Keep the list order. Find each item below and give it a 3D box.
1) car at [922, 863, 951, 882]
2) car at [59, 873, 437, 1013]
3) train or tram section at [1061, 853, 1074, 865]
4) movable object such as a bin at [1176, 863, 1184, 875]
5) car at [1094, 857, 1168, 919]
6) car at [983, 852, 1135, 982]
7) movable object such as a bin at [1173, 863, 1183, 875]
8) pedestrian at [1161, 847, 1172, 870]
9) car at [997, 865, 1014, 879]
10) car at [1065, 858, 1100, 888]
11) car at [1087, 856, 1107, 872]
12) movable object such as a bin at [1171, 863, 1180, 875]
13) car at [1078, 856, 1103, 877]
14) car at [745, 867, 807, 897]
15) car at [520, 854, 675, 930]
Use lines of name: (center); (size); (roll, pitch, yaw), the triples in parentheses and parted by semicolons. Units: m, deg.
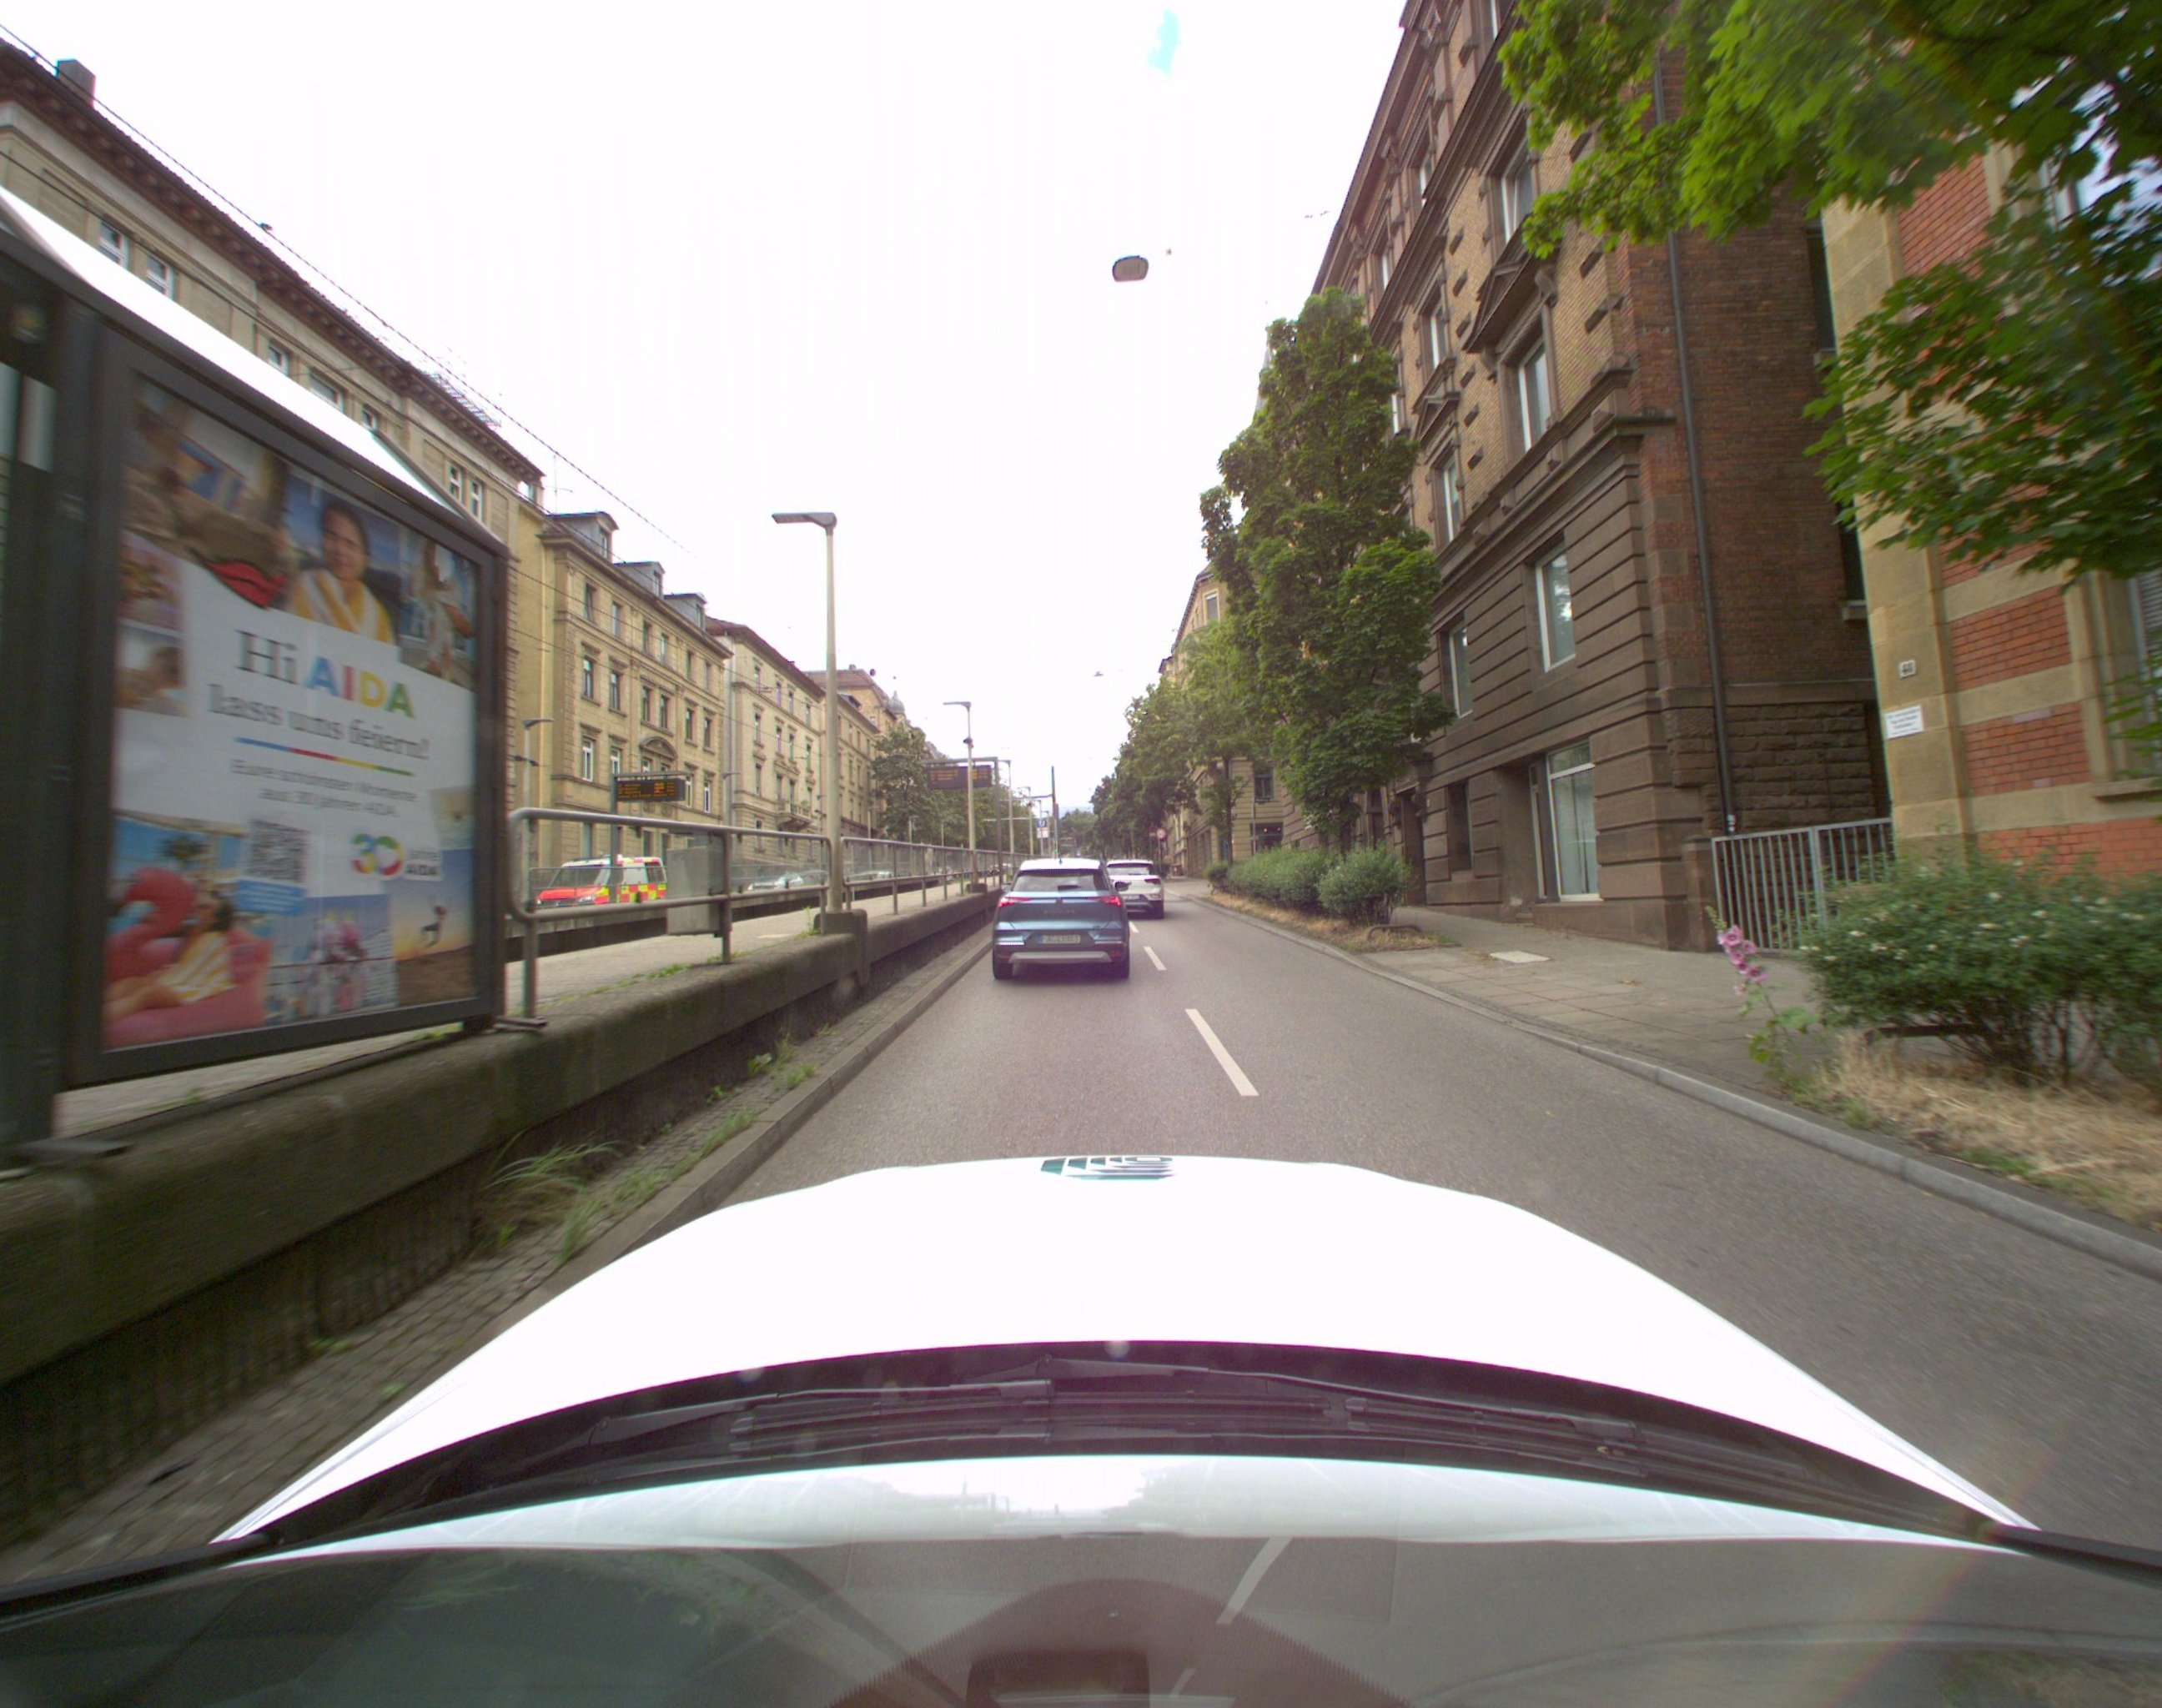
car: (-14.042, 1.804, 79.333); (1.929, 1.679, 4.000); (-3, 0, 0)
car: (-13.937, 1.349, 14.134); (1.988, 1.895, 4.413); (-2, 0, -1)
train or tram section: (-3.963, 1.598, 238.291); (2.985, 3.349, 13.442); (-2, -1, 2)
movable object such as a bin: (7.709, 1.182, 63.355); (0.496, 0.919, 0.446); (-3, 0, 20)
car: (1.368, 0.880, 22.574); (1.828, 1.546, 4.196); (-1, -1, 3)
car: (-0.232, 0.791, 11.946); (1.829, 1.546, 4.194); (-1, -1, 1)
movable object such as a bin: (7.613, 1.190, 64.009); (0.504, 0.919, 0.487); (-3, -1, -41)
pedestrian: (7.058, 0.351, 67.555); (0.683, 1.829, 1.121); (-4, -1, 0)
car: (-9.696, 2.274, 104.752); (1.703, 1.735, 4.577); (-2, 0, 1)
car: (0.137, 1.032, 45.195); (1.829, 1.546, 4.194); (-1, -1, 1)
car: (1.684, 1.044, 84.748); (2.060, 1.546, 4.195); (-1, -1, 2)
movable object such as a bin: (7.495, 1.194, 64.599); (0.609, 0.919, 0.493); (-4, -1, 3)
car: (0.722, 0.948, 61.107); (1.829, 1.546, 4.194); (-1, -1, 1)
car: (-16.304, 1.454, 43.747); (1.762, 1.471, 4.259); (-1, 0, -1)
car: (-16.491, 1.203, 28.194); (1.987, 2.305, 5.455); (-2, 0, 0)
